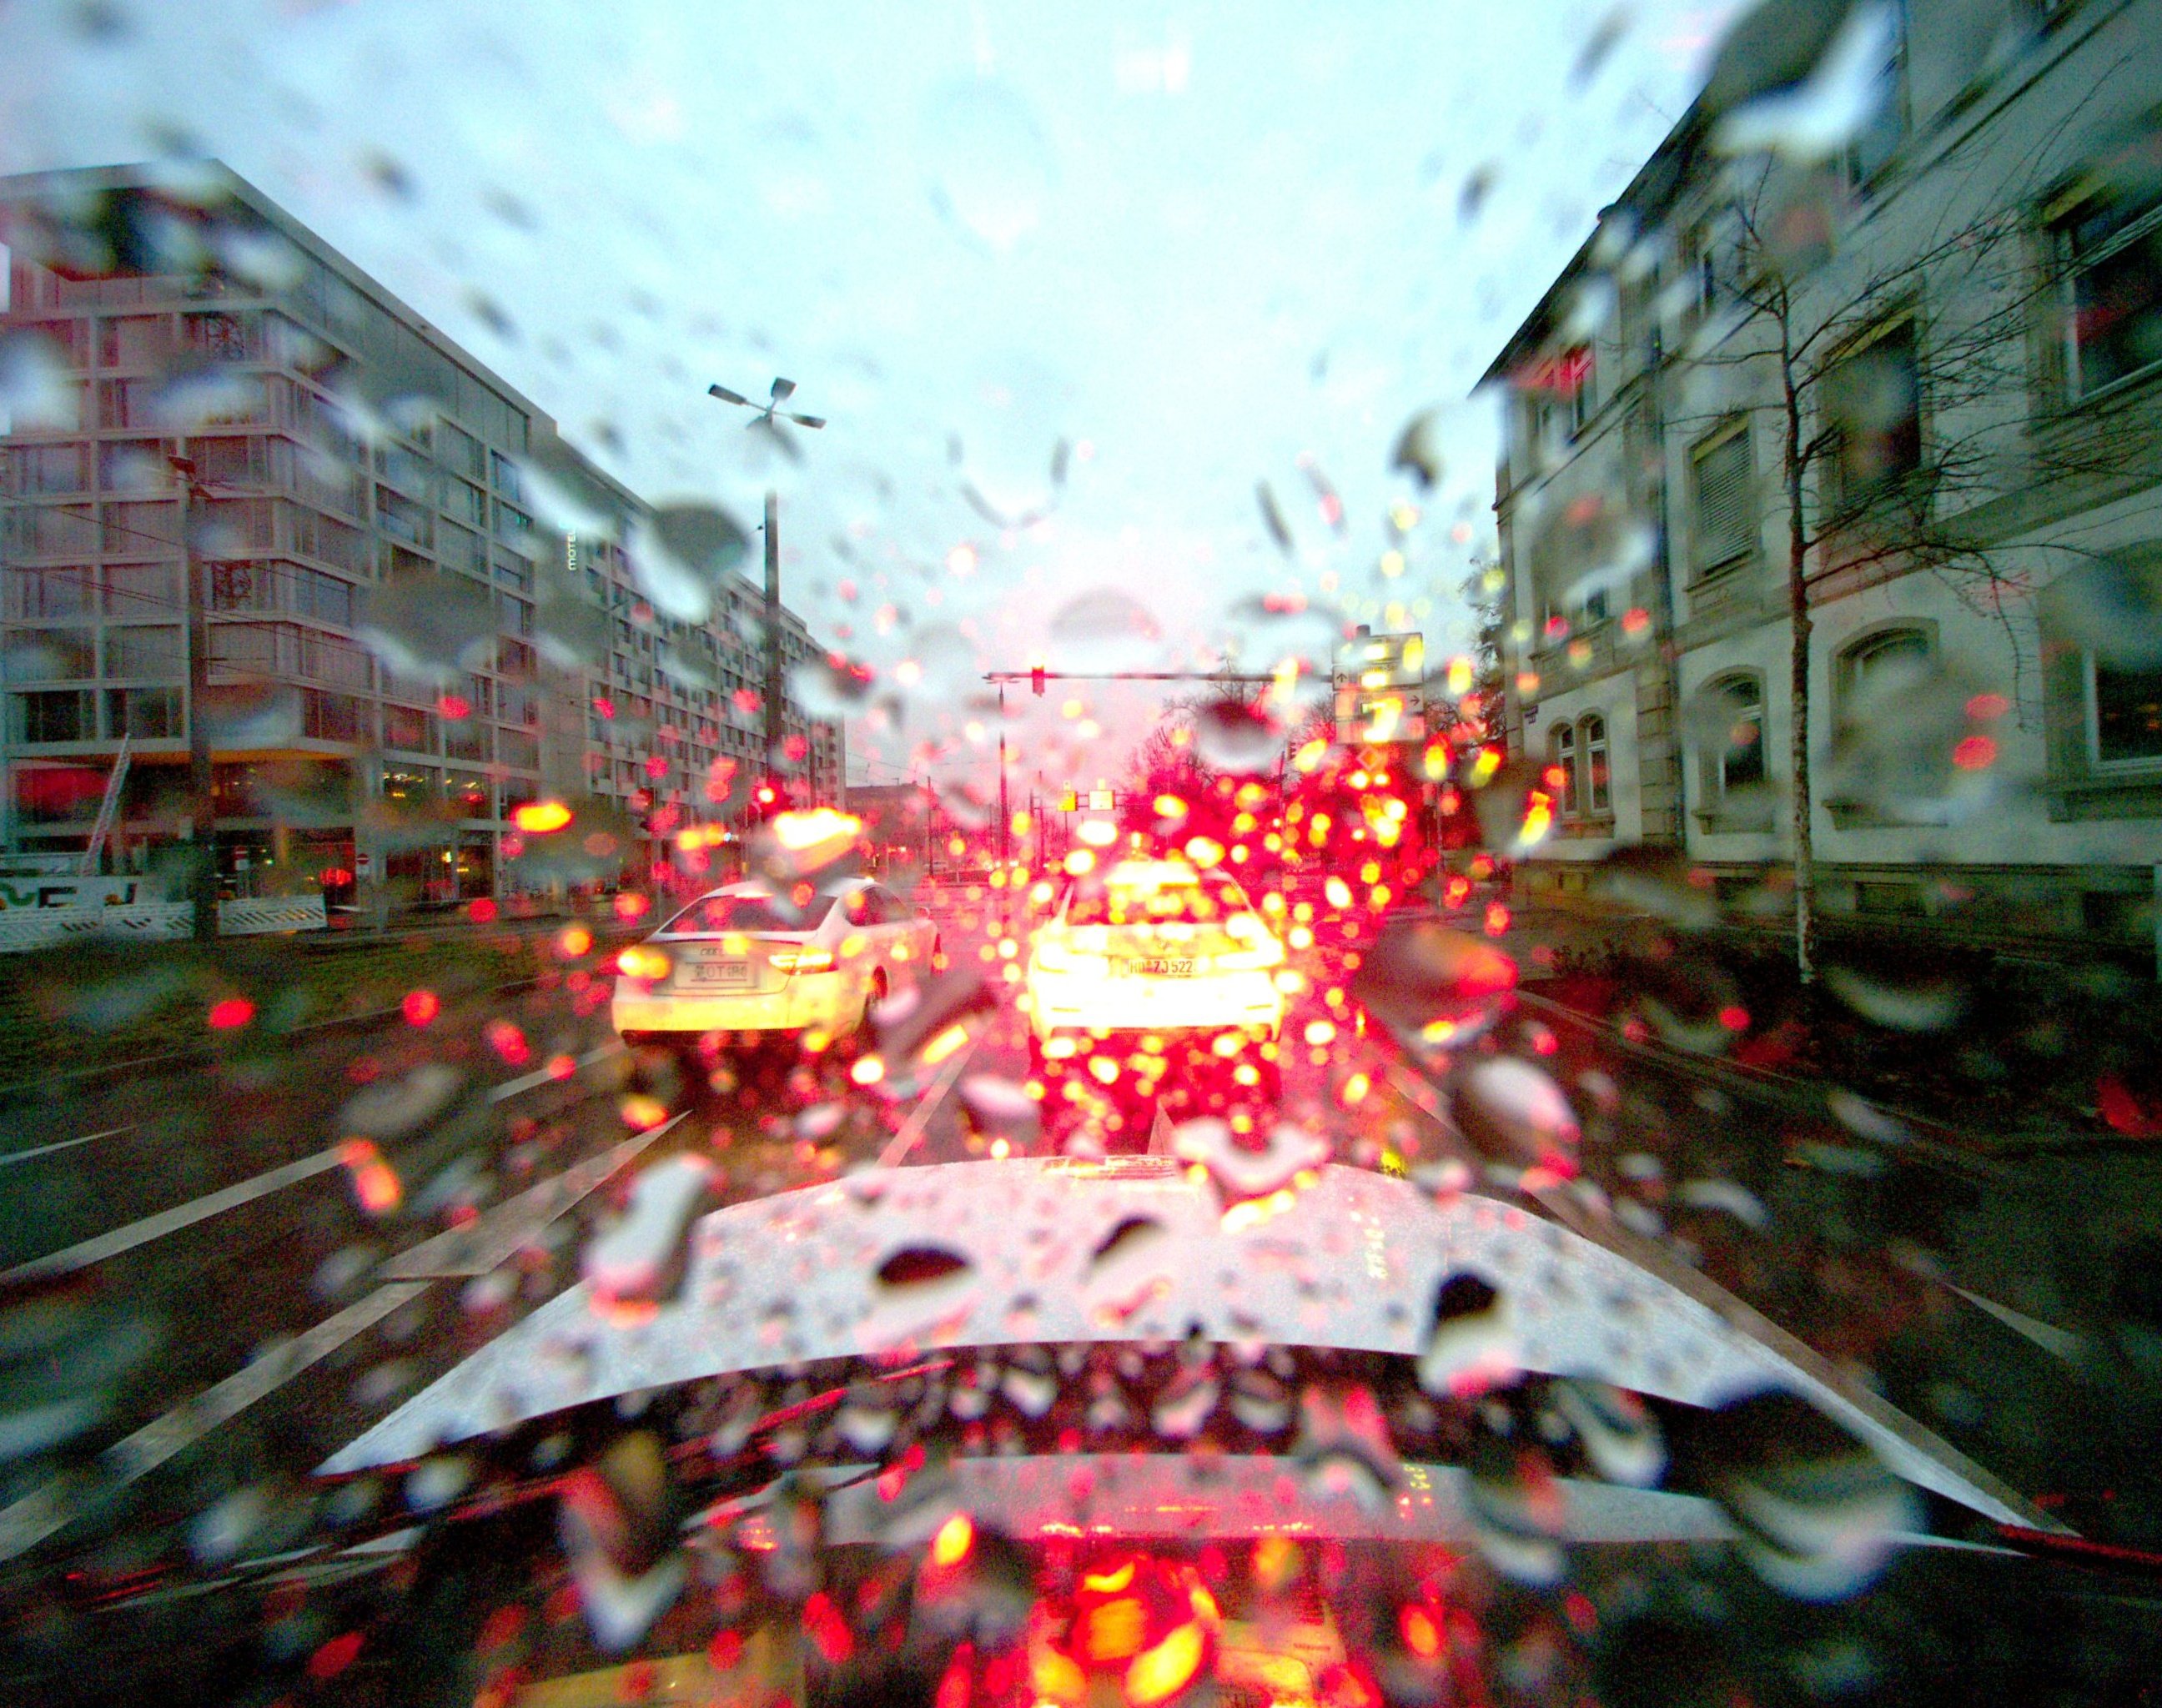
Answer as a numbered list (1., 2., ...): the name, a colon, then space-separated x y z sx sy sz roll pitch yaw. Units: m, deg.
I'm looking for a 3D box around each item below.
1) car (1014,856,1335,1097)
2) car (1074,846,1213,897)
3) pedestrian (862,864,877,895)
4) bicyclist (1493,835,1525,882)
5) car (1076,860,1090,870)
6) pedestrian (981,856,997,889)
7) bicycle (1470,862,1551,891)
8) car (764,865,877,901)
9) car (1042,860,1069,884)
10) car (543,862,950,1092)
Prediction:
1. car: 0.586 0.768 7.283 1.987 1.456 4.367 -1 0 0
2. car: 2.268 0.658 29.717 4.654 1.720 1.911 -1 -1 22
3. pedestrian: -11.734 1.422 45.196 0.791 1.712 0.809 0 -1 -13
4. bicyclist: 16.330 0.193 31.100 0.964 1.759 0.817 -1 -1 21
5. car: 0.261 1.593 117.715 1.987 1.456 4.367 -1 0 0
6. pedestrian: -5.329 1.071 47.328 0.902 1.856 0.810 0 -1 -7
7. bicycle: 16.364 0.846 31.080 2.644 1.089 0.819 0 -1 21
8. car: -11.210 1.239 35.168 4.289 1.530 1.766 0 -1 7
9. car: -1.786 1.247 57.266 1.838 1.609 3.941 0 -1 -2
10. car: -2.591 0.845 7.649 1.987 1.456 4.367 -1 0 0
